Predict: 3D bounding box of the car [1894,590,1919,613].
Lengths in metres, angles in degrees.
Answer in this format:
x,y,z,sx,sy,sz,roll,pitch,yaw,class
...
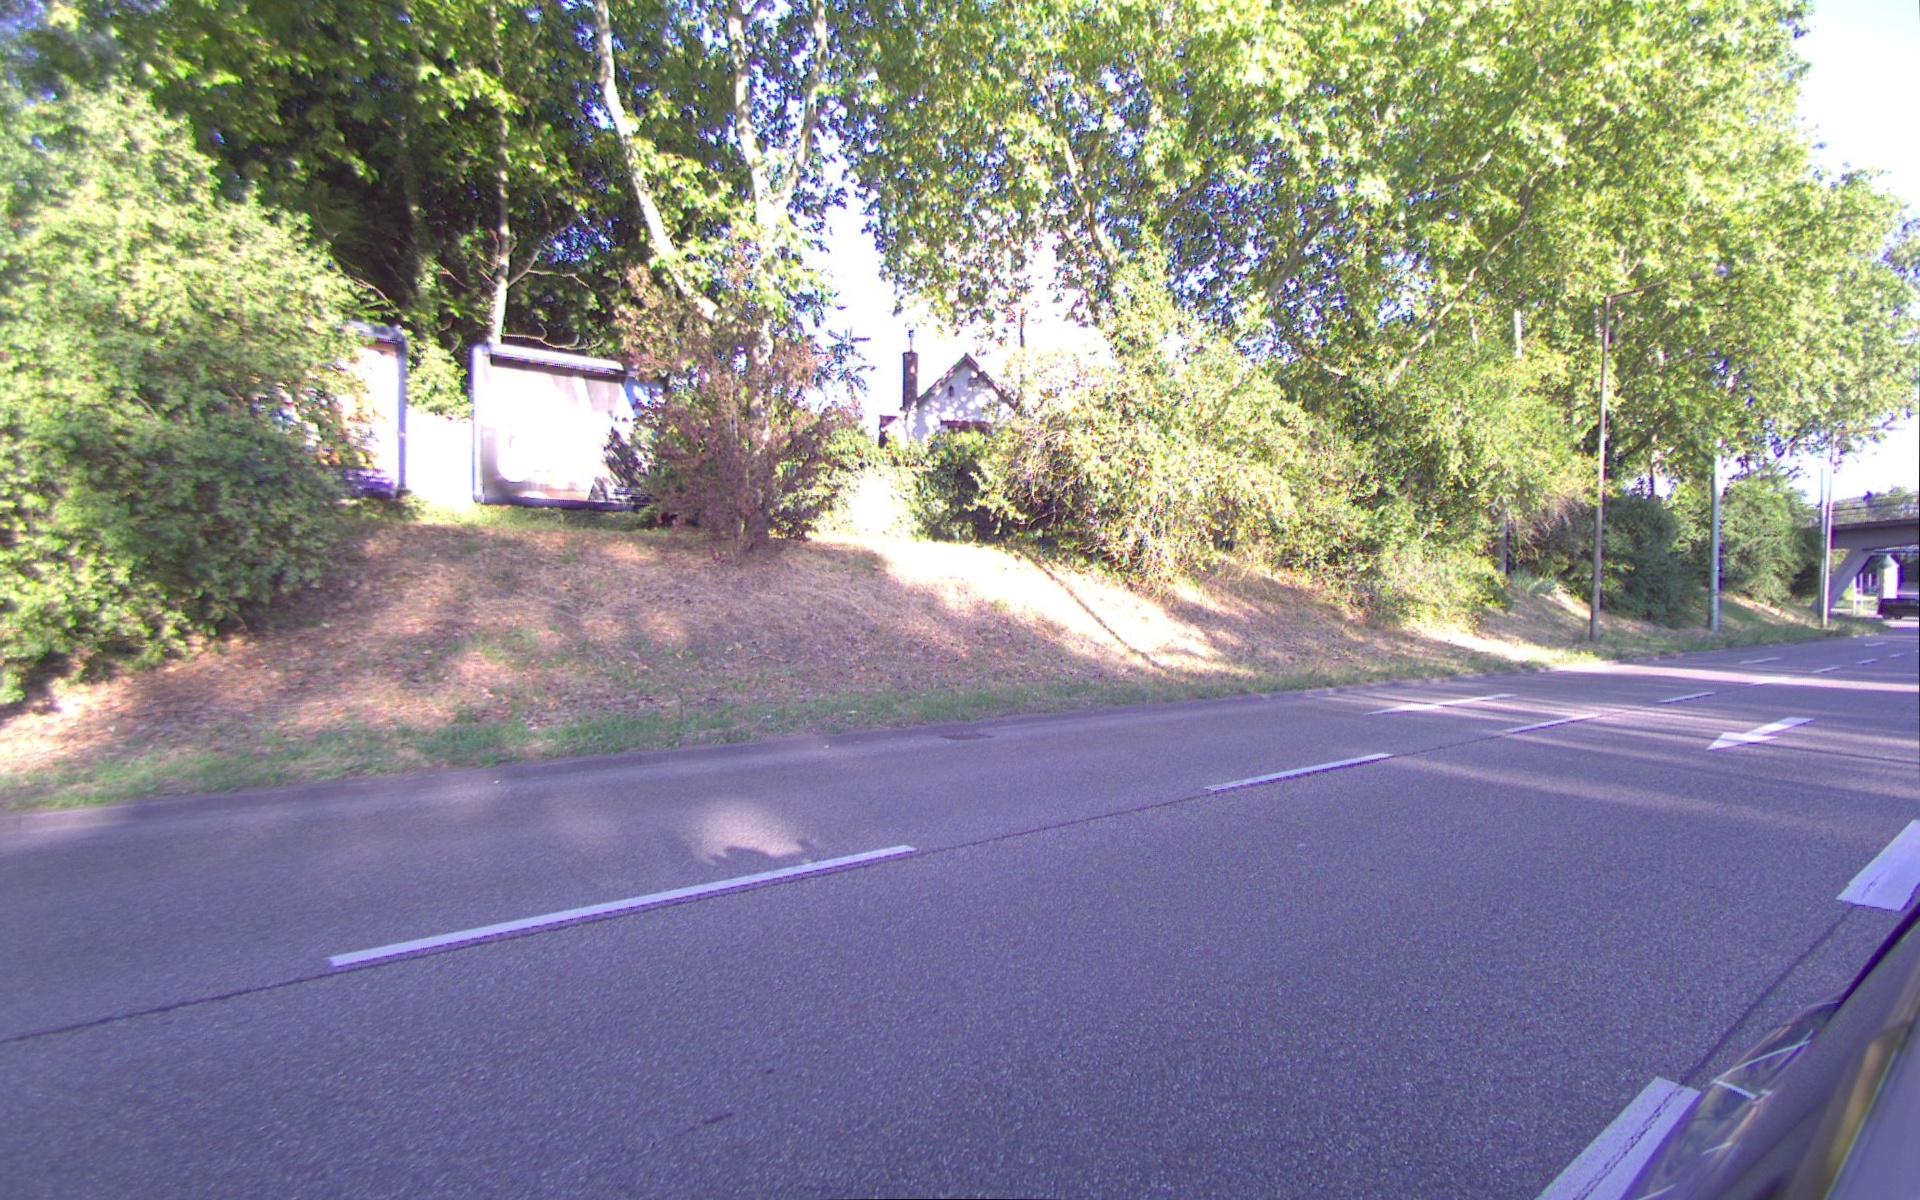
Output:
x,y,z,sx,sy,sz,roll,pitch,yaw,class
72.846,0.112,75.747,1.748,1.676,4.006,-1,0,-27,car
